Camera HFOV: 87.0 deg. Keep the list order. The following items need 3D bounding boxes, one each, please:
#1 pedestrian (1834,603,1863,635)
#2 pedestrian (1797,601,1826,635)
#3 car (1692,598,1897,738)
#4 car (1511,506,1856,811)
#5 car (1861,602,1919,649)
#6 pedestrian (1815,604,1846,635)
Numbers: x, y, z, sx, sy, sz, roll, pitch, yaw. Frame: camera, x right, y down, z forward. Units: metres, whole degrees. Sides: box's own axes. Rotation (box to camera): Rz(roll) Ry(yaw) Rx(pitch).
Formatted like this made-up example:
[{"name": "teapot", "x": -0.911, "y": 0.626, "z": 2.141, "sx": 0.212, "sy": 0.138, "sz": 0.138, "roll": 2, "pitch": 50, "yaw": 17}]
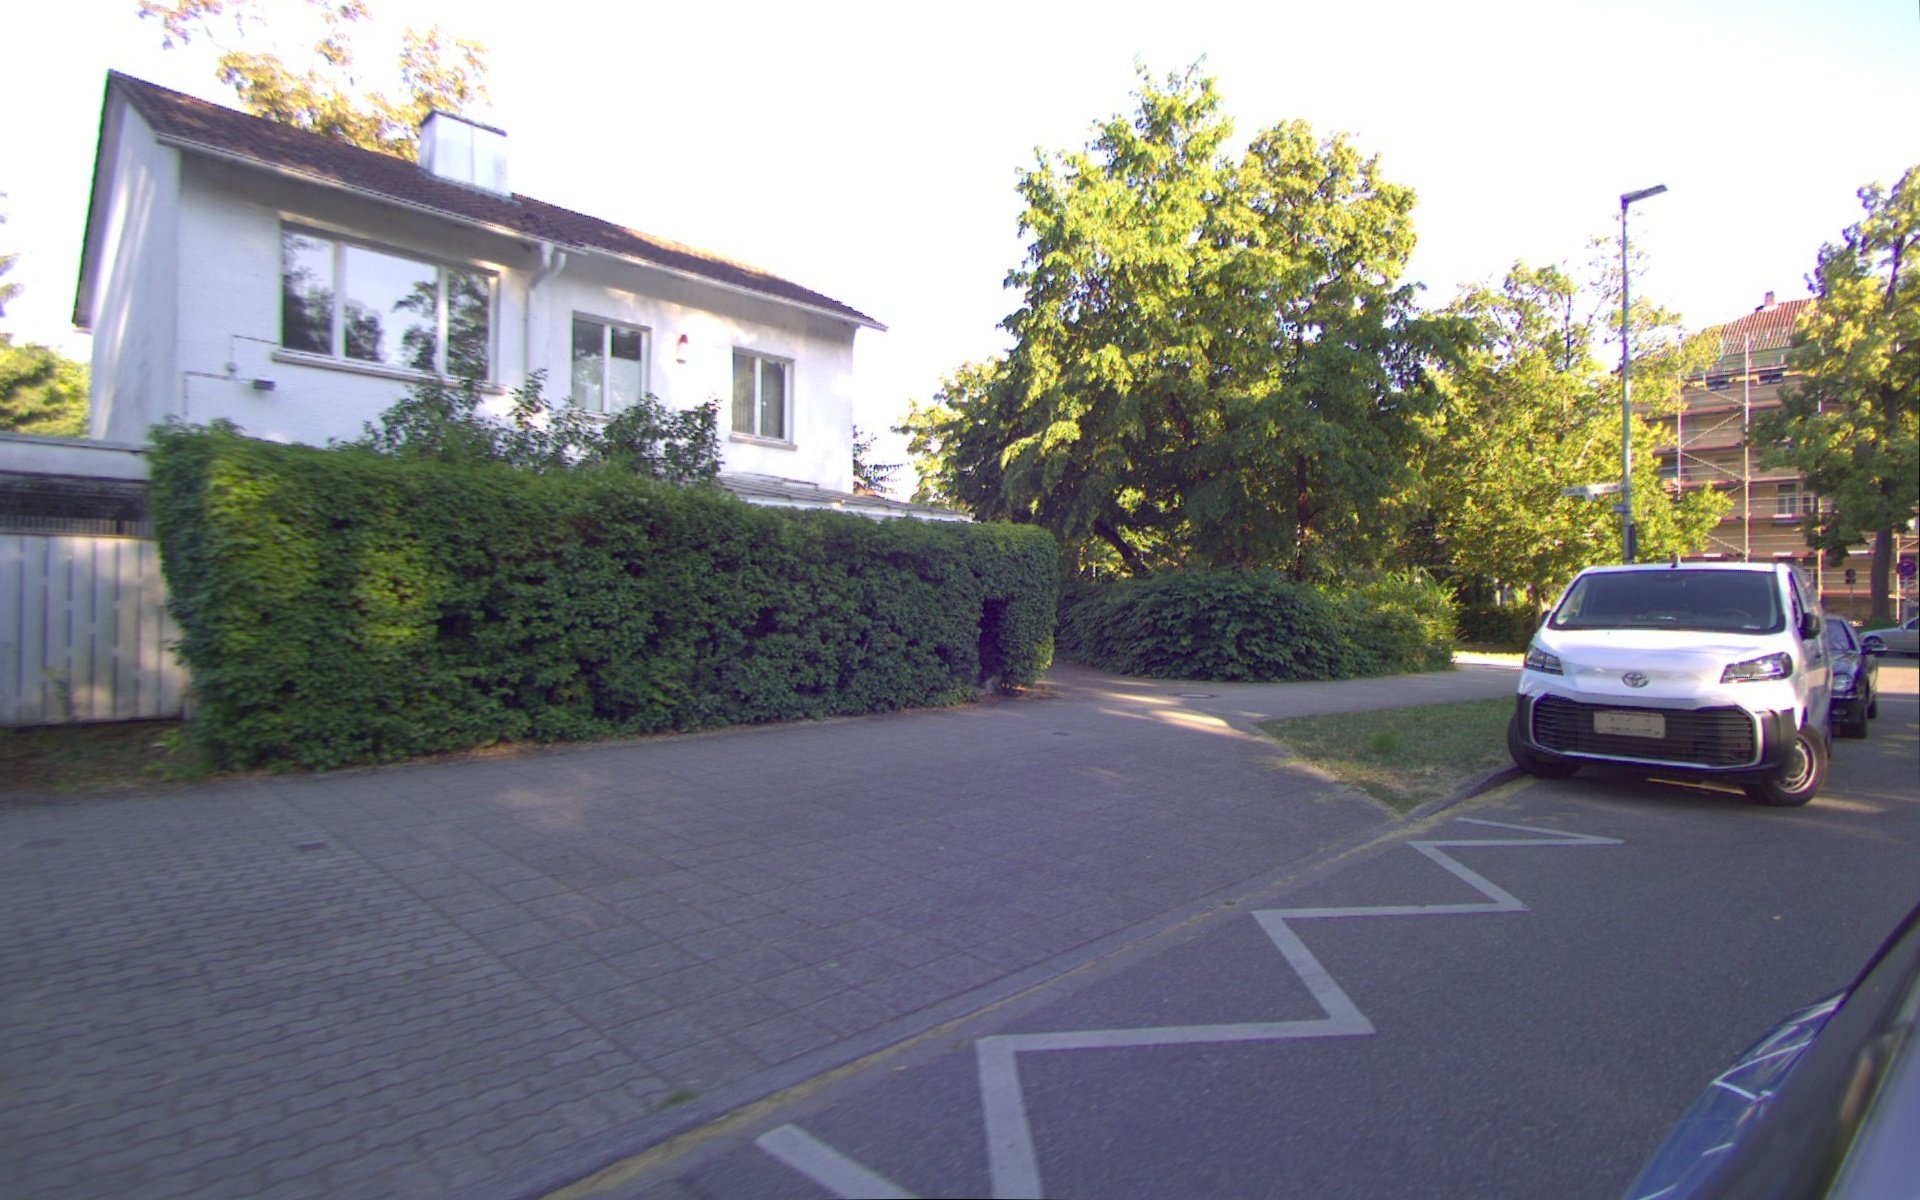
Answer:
[{"name": "pedestrian", "x": 35.275, "y": 0.746, "z": 40.177, "sx": 0.543, "sy": 1.248, "sz": 0.723, "roll": 0, "pitch": -1, "yaw": 8}, {"name": "pedestrian", "x": 33.883, "y": 0.715, "z": 40.275, "sx": 0.543, "sy": 1.314, "sz": 0.764, "roll": 0, "pitch": -1, "yaw": 8}, {"name": "car", "x": 10.913, "y": 0.723, "z": 13.097, "sx": 1.765, "sy": 1.487, "sz": 4.789, "roll": 0, "pitch": 0, "yaw": 43}, {"name": "car", "x": 6.858, "y": 0.391, "z": 9.315, "sx": 1.952, "sy": 2.039, "sz": 5.073, "roll": 0, "pitch": 0, "yaw": 43}, {"name": "car", "x": 30.016, "y": 0.818, "z": 30.317, "sx": 1.749, "sy": 1.433, "sz": 4.502, "roll": 2, "pitch": 0, "yaw": -6}, {"name": "pedestrian", "x": 34.721, "y": 0.764, "z": 40.381, "sx": 0.543, "sy": 1.210, "sz": 0.882, "roll": 0, "pitch": -1, "yaw": 8}]
